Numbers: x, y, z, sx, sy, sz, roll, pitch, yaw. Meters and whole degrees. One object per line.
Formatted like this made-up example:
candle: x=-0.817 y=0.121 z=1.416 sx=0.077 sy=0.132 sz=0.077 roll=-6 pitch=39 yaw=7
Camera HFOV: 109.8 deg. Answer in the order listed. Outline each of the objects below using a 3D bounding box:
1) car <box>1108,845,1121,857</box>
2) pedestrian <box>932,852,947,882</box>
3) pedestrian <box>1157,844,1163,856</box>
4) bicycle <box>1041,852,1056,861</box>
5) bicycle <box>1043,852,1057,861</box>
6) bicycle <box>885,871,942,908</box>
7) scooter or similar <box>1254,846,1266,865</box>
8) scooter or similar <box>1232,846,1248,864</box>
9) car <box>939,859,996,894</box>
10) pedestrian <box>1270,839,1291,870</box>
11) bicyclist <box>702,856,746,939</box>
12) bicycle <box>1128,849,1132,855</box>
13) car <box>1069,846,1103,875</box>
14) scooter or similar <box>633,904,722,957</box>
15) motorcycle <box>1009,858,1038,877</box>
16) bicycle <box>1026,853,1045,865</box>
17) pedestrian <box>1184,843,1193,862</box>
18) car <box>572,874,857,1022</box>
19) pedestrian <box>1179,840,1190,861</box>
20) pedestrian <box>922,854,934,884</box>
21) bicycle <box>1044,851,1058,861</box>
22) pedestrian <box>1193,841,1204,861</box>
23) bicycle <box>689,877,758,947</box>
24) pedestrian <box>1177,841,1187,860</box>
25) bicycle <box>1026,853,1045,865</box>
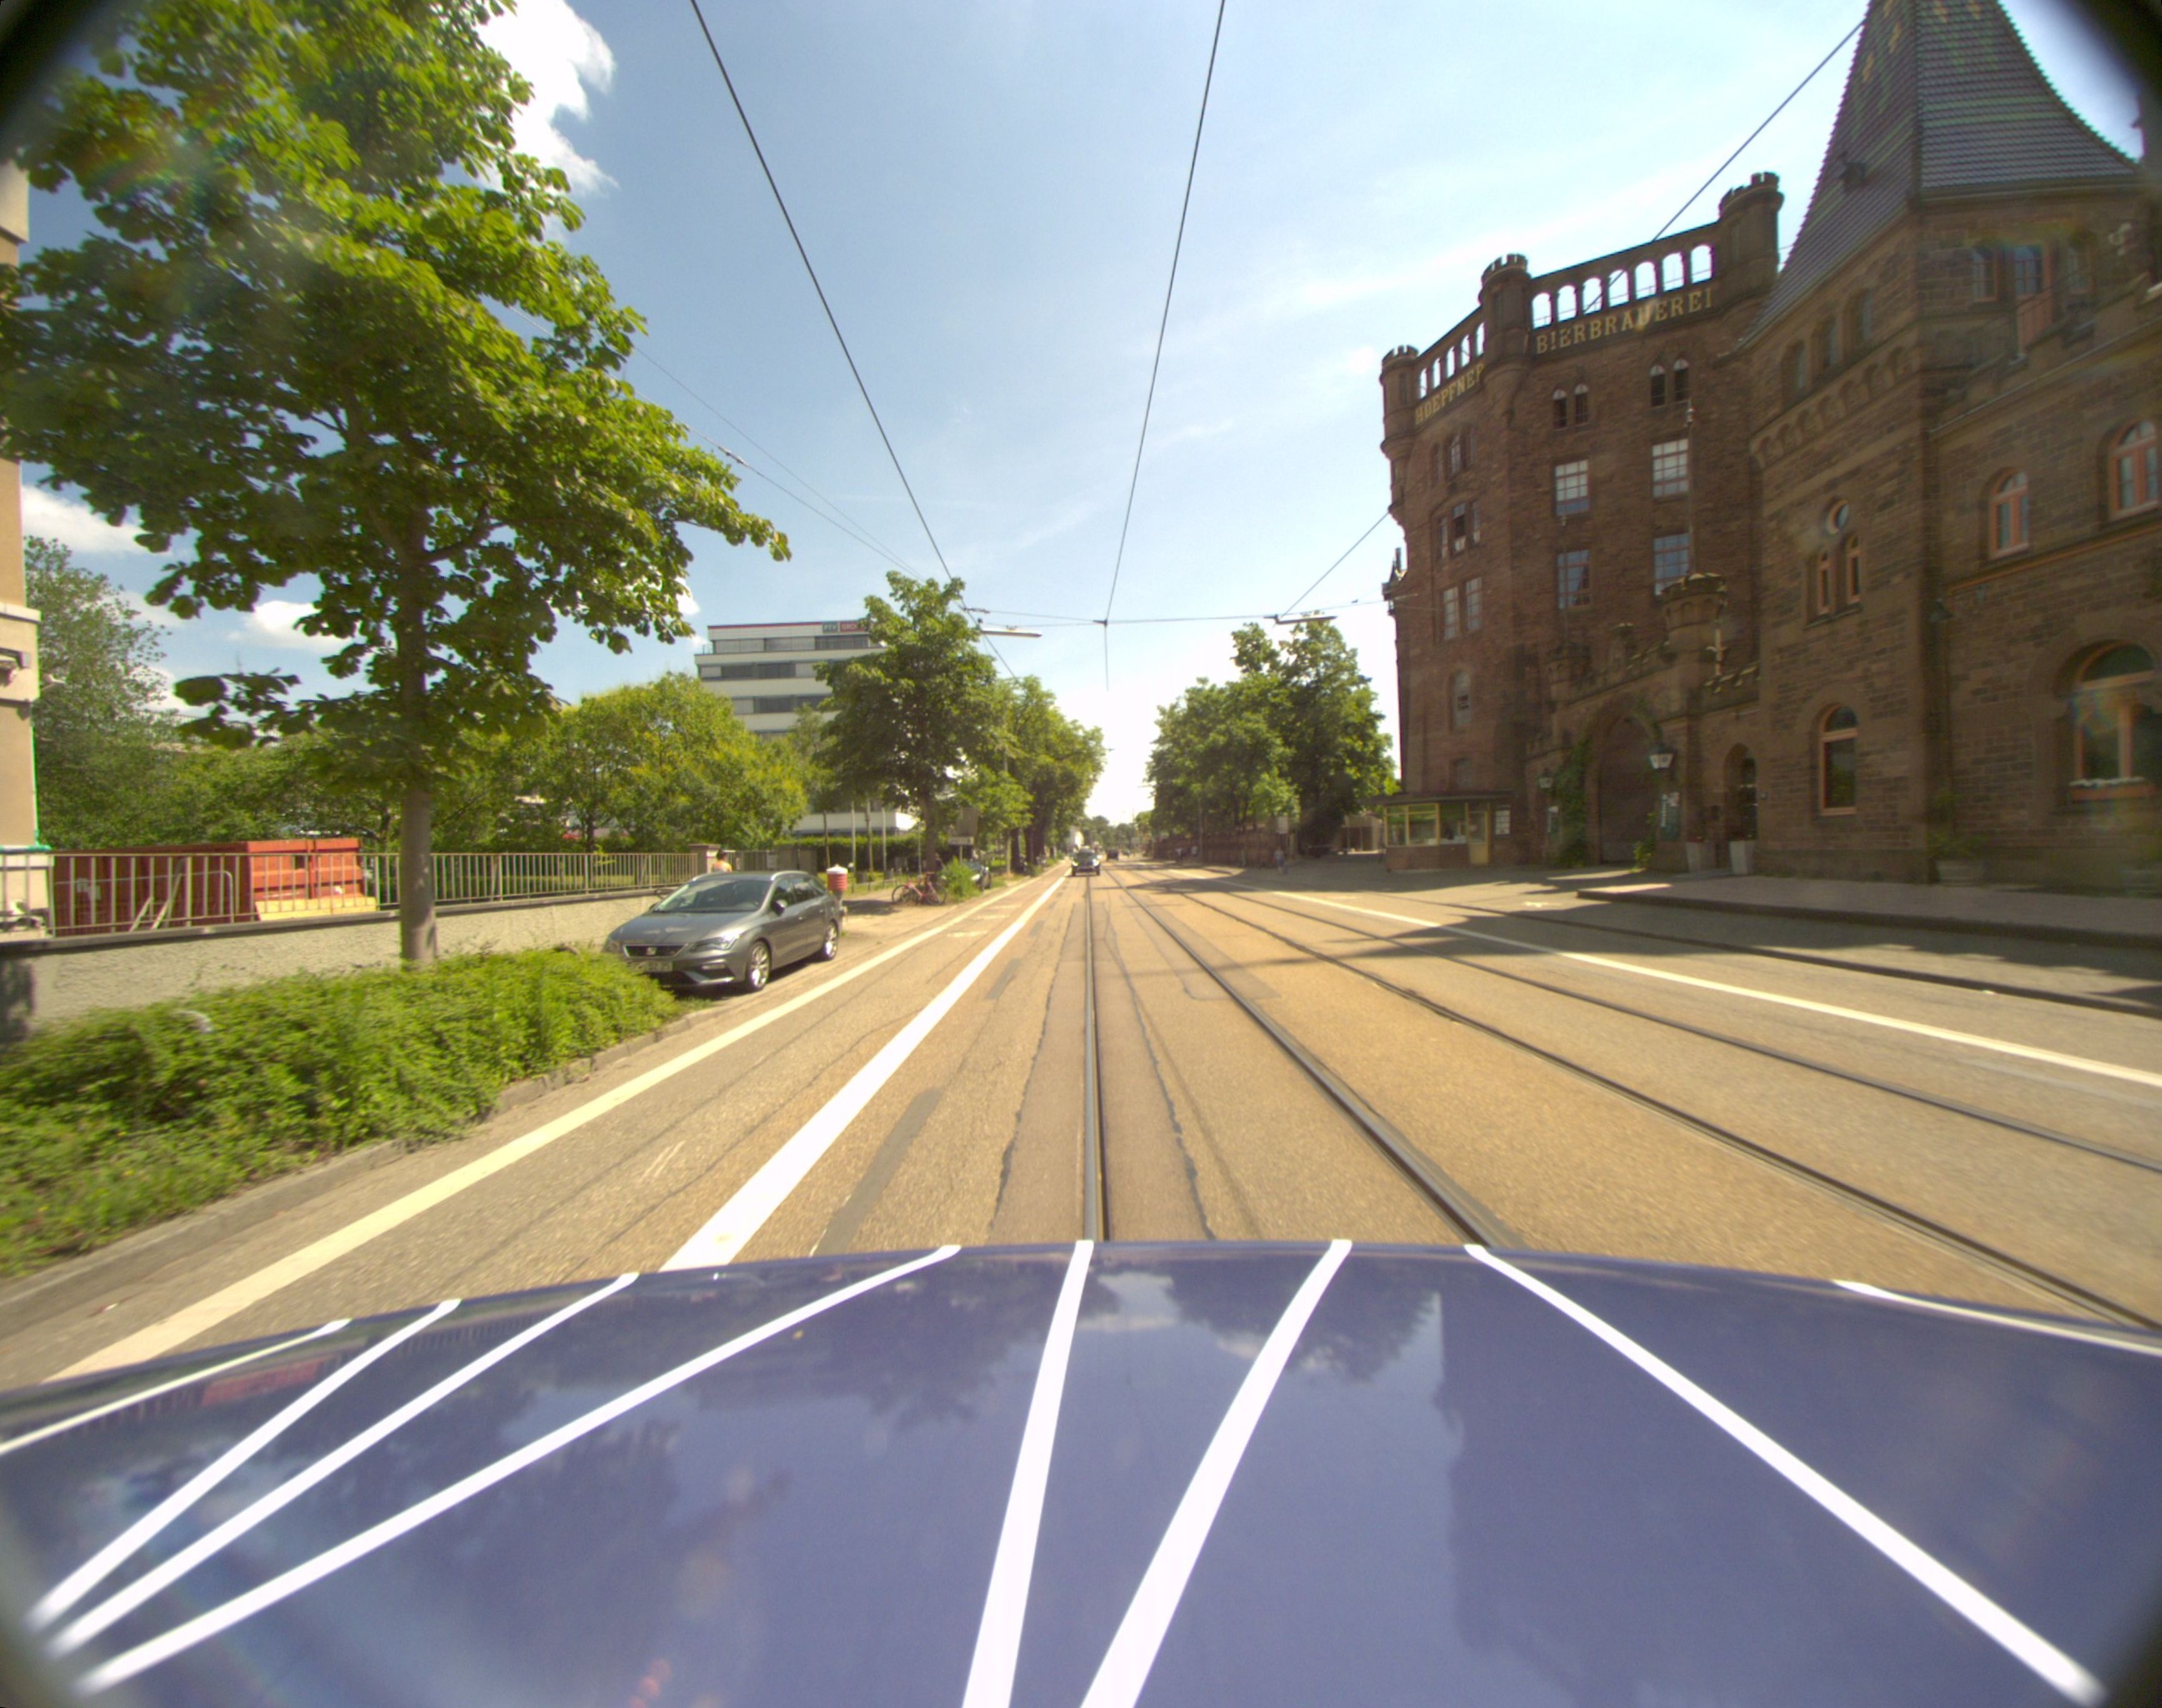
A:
car: x=5.271 y=-0.544 z=119.870 sx=1.909 sy=1.778 sz=4.255 roll=-2 pitch=1 yaw=1
pedestrian: x=-7.433 y=0.677 z=39.907 sx=0.620 sy=1.564 sz=0.610 roll=-1 pitch=1 yaw=1
pedestrian: x=11.655 y=-0.626 z=111.970 sx=0.750 sy=1.738 sz=0.919 roll=-4 pitch=1 yaw=0
bicycle: x=-4.230 y=0.311 z=97.849 sx=1.846 sy=1.105 sz=0.569 roll=-4 pitch=1 yaw=-3
bicycle: x=-4.145 y=0.295 z=100.973 sx=1.813 sy=1.105 sz=0.569 roll=-4 pitch=1 yaw=-3
bicycle: x=-5.178 y=1.102 z=23.564 sx=1.589 sy=1.054 sz=0.562 roll=-2 pitch=1 yaw=-1
scooter or similar: x=11.074 y=0.083 z=47.005 sx=0.328 sy=1.120 sz=1.225 roll=-3 pitch=1 yaw=29
scooter or similar: x=10.575 y=0.061 z=50.465 sx=0.348 sy=1.120 sz=1.227 roll=-2 pitch=3 yaw=44
car: x=-4.773 y=0.911 z=32.528 sx=1.756 sy=1.263 sz=3.833 roll=-3 pitch=1 yaw=1
pedestrian: x=10.679 y=0.049 z=40.677 sx=0.801 sy=1.579 sz=0.919 roll=-5 pitch=1 yaw=0
bicyclist: x=-7.248 y=0.873 z=15.456 sx=0.582 sy=1.638 sz=0.599 roll=0 pitch=1 yaw=0
bicycle: x=9.227 y=-0.374 z=142.664 sx=0.661 sy=1.156 sz=1.895 roll=0 pitch=1 yaw=1
car: x=0.325 y=0.386 z=49.175 sx=1.998 sy=1.732 sz=4.226 roll=-3 pitch=1 yaw=1
scooter or similar: x=-7.305 y=1.367 z=13.837 sx=0.763 sy=0.802 sz=1.555 roll=0 pitch=1 yaw=1
motorcycle: x=-3.912 y=0.915 z=51.769 sx=2.056 sy=1.206 sz=0.614 roll=-1 pitch=3 yaw=40
bicycle: x=-4.350 y=0.516 z=72.533 sx=1.812 sy=1.105 sz=0.449 roll=-1 pitch=1 yaw=-2
pedestrian: x=10.179 y=-0.179 z=71.976 sx=0.679 sy=1.738 sz=0.919 roll=-5 pitch=1 yaw=0
car: x=-4.700 y=1.086 z=10.678 sx=1.675 sy=1.400 sz=4.748 roll=-2 pitch=1 yaw=0
pedestrian: x=9.488 y=-0.322 z=69.480 sx=0.723 sy=1.781 sz=0.919 roll=-5 pitch=1 yaw=0
pedestrian: x=-8.037 y=0.766 z=39.867 sx=0.514 sy=1.564 sz=0.544 roll=-1 pitch=1 yaw=1
bicycle: x=-3.925 y=0.272 z=99.156 sx=1.813 sy=1.105 sz=0.569 roll=-4 pitch=1 yaw=-3
pedestrian: x=11.075 y=-0.293 z=71.841 sx=0.754 sy=1.766 sz=0.919 roll=-5 pitch=1 yaw=0
bicycle: x=-7.254 y=1.140 z=15.497 sx=0.556 sy=1.258 sz=1.773 roll=1 pitch=1 yaw=1
pedestrian: x=9.818 y=-0.327 z=73.871 sx=0.679 sy=1.780 sz=0.919 roll=-5 pitch=1 yaw=0
bicycle: x=-4.358 y=0.513 z=72.963 sx=1.813 sy=1.105 sz=0.395 roll=-1 pitch=1 yaw=-3
